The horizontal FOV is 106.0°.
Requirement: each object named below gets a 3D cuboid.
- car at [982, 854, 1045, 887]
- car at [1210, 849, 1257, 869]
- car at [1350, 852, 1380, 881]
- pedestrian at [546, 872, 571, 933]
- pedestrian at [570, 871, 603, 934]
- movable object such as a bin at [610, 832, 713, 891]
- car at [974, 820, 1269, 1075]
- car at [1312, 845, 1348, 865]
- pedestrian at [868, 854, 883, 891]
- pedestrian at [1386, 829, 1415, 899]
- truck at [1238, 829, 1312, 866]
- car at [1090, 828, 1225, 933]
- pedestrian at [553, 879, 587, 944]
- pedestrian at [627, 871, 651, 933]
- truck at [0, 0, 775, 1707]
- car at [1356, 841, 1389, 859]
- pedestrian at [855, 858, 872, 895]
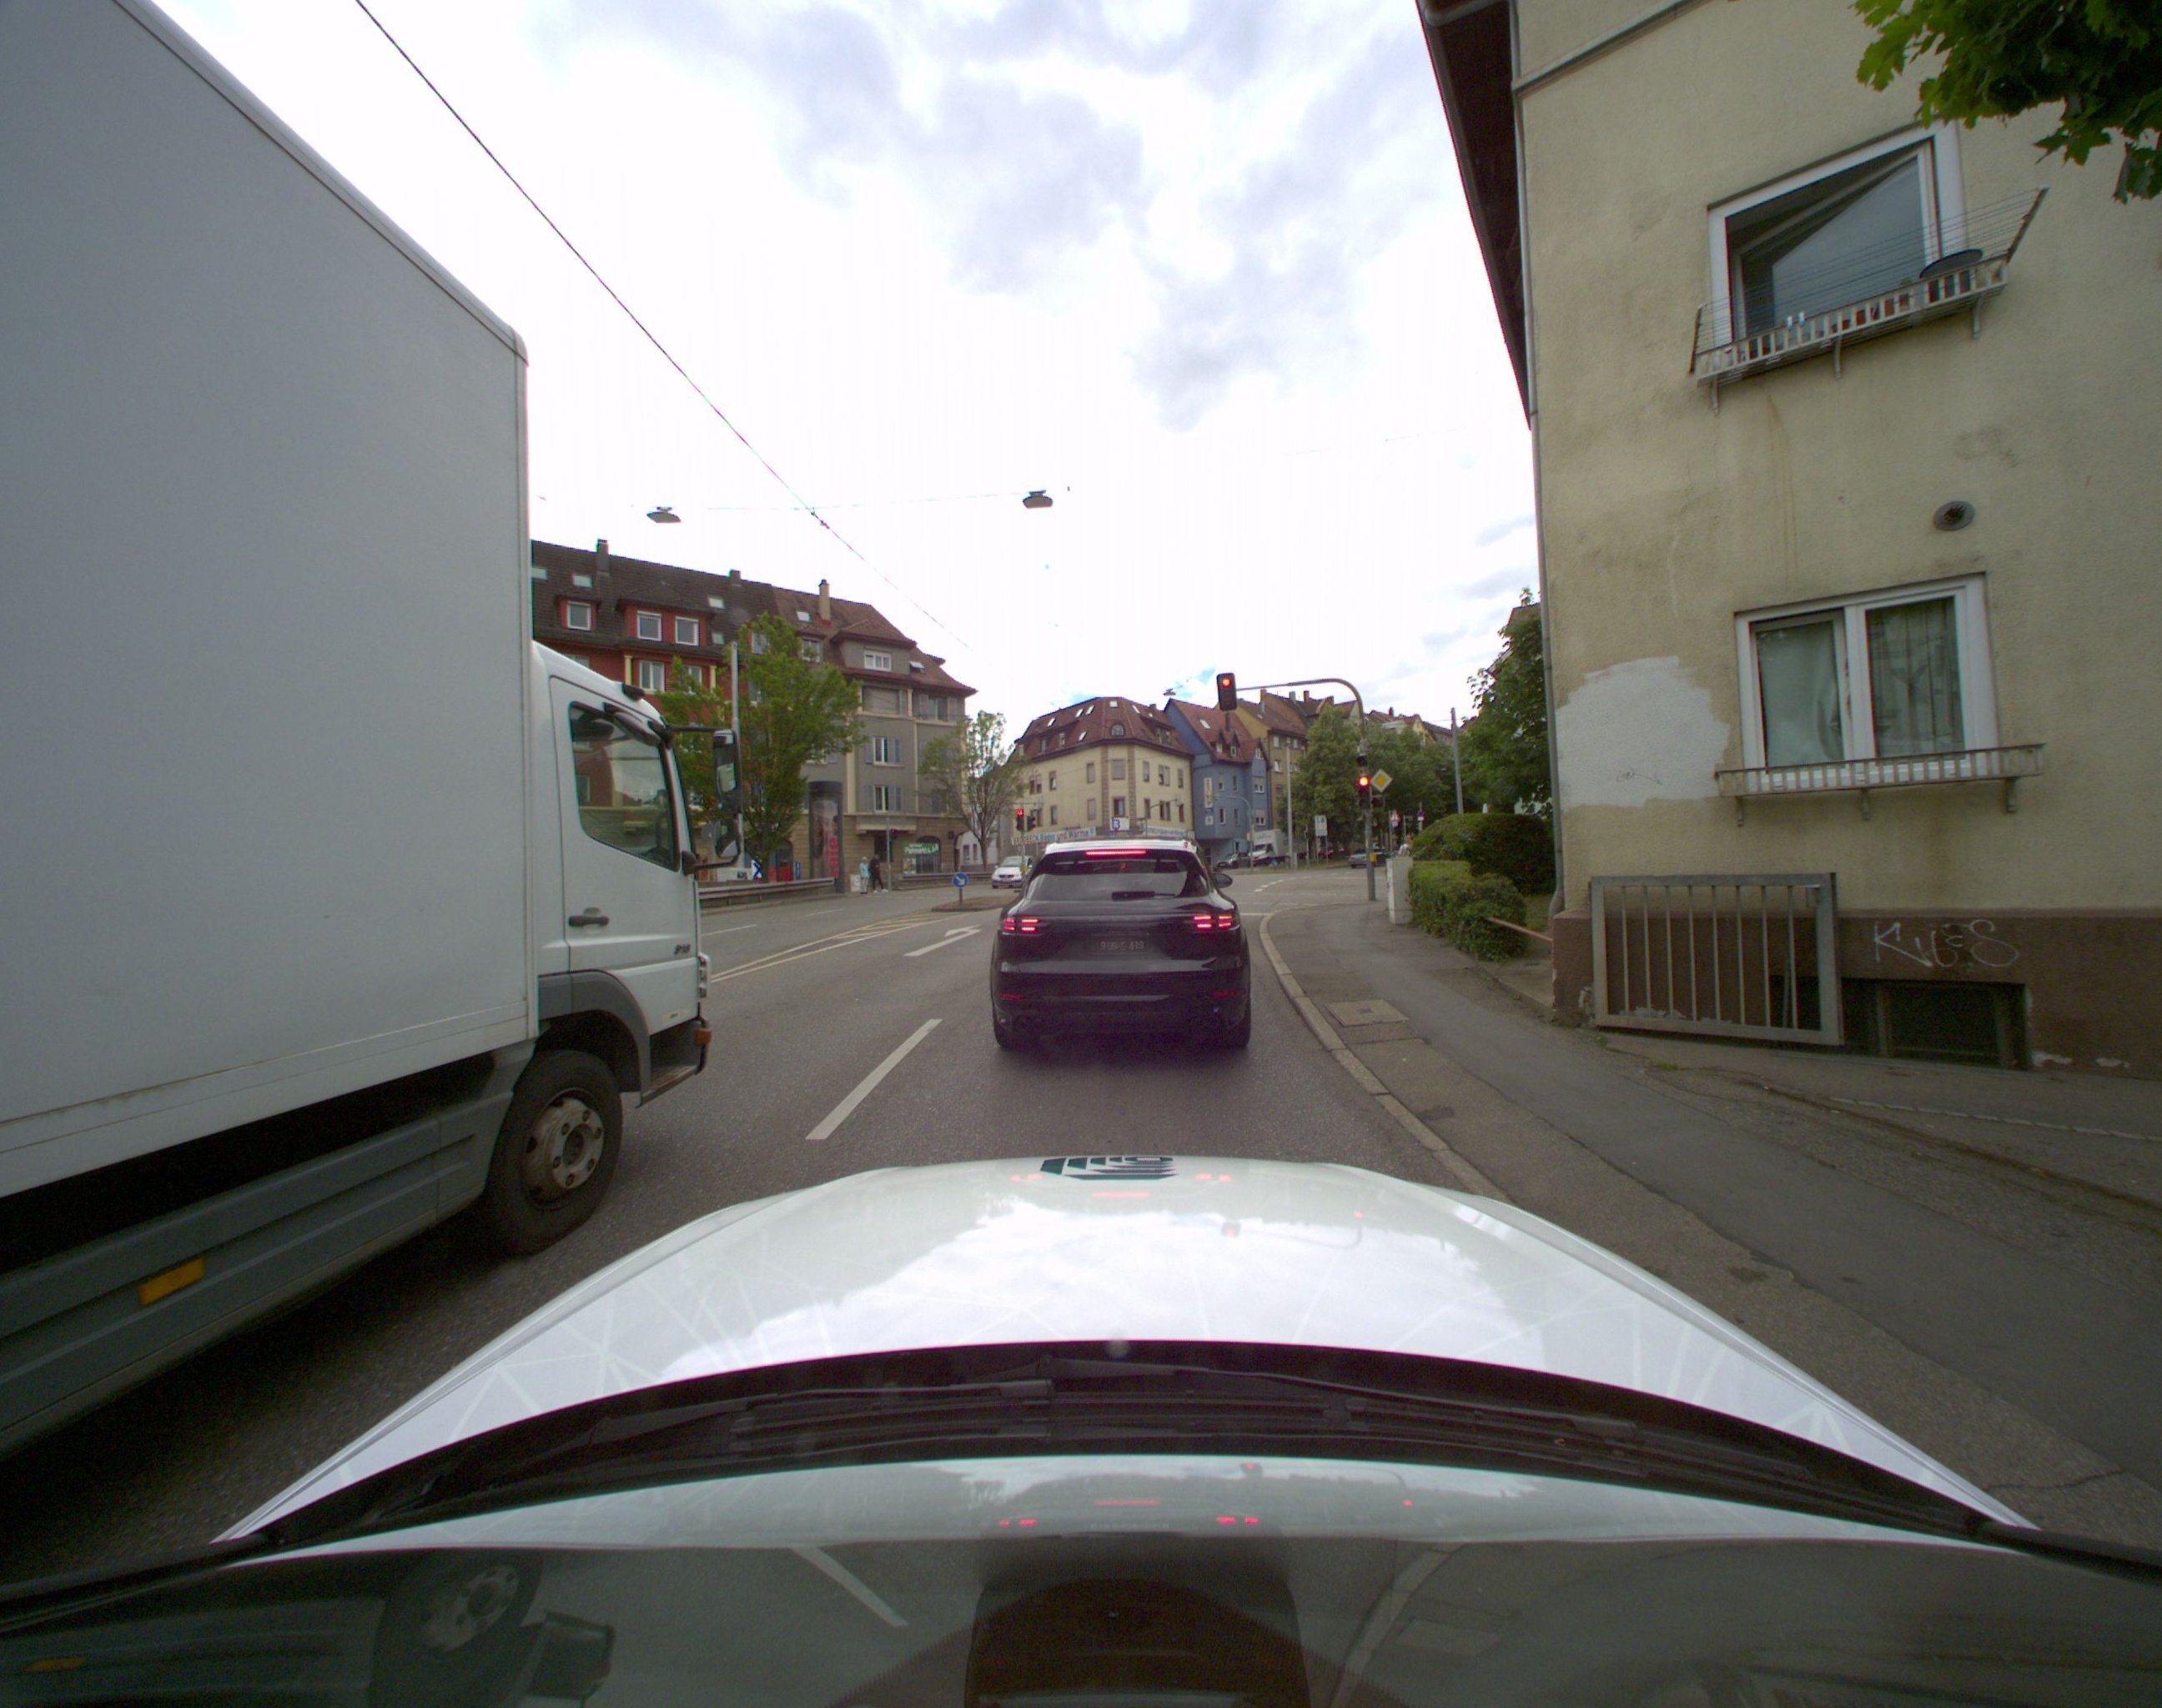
[{"bbox_3d":[-3.374,0.843,41.545,1.875,1.579,3.986,-2,-1,16],"label":"car"},{"bbox_3d":[13.469,0.437,71.749,4.021,1.684,1.976,-1,-1,-41],"label":"car"},{"bbox_3d":[20.731,0.933,59.493,1.977,2.014,4.019,0,-1,19],"label":"car"},{"bbox_3d":[-15.233,1.399,23.731,0.479,1.730,0.536,1,-1,-44],"label":"pedestrian"},{"bbox_3d":[-14.215,1.382,23.409,0.565,1.761,0.622,0,-1,37],"label":"pedestrian"},{"bbox_3d":[-13.487,0.238,26.456,1.903,1.771,3.984,1,0,-11],"label":"movable object such as a bin"},{"bbox_3d":[0.251,0.614,7.534,1.973,1.684,3.998,-1,0,-1],"label":"car"},{"bbox_3d":[26.190,0.131,85.723,1.975,2.014,4.023,0,-1,45],"label":"car"},{"bbox_3d":[-9.528,0.847,37.725,0.511,1.730,0.451,1,-1,4],"label":"pedestrian"},{"bbox_3d":[8.432,0.270,21.498,0.525,1.819,0.591,1,-1,1],"label":"pedestrian"},{"bbox_3d":[18.726,-0.607,78.255,2.846,3.340,8.846,0,0,43],"label":"truck"},{"bbox_3d":[1.575,0.444,15.171,1.980,1.684,4.014,-1,0,12],"label":"car"},{"bbox_3d":[-13.713,1.524,21.863,0.562,1.700,0.541,1,-1,-10],"label":"pedestrian"},{"bbox_3d":[-12.600,1.359,23.225,0.545,1.730,0.587,1,-1,-33],"label":"pedestrian"},{"bbox_3d":[-3.292,-0.232,0.714,2.759,3.575,8.067,-1,0,1],"label":"truck"},{"bbox_3d":[33.125,-0.435,92.609,1.975,2.014,4.023,0,-1,45],"label":"car"},{"bbox_3d":[-9.427,0.964,35.349,0.587,1.567,0.486,1,-1,1],"label":"pedestrian"}]
